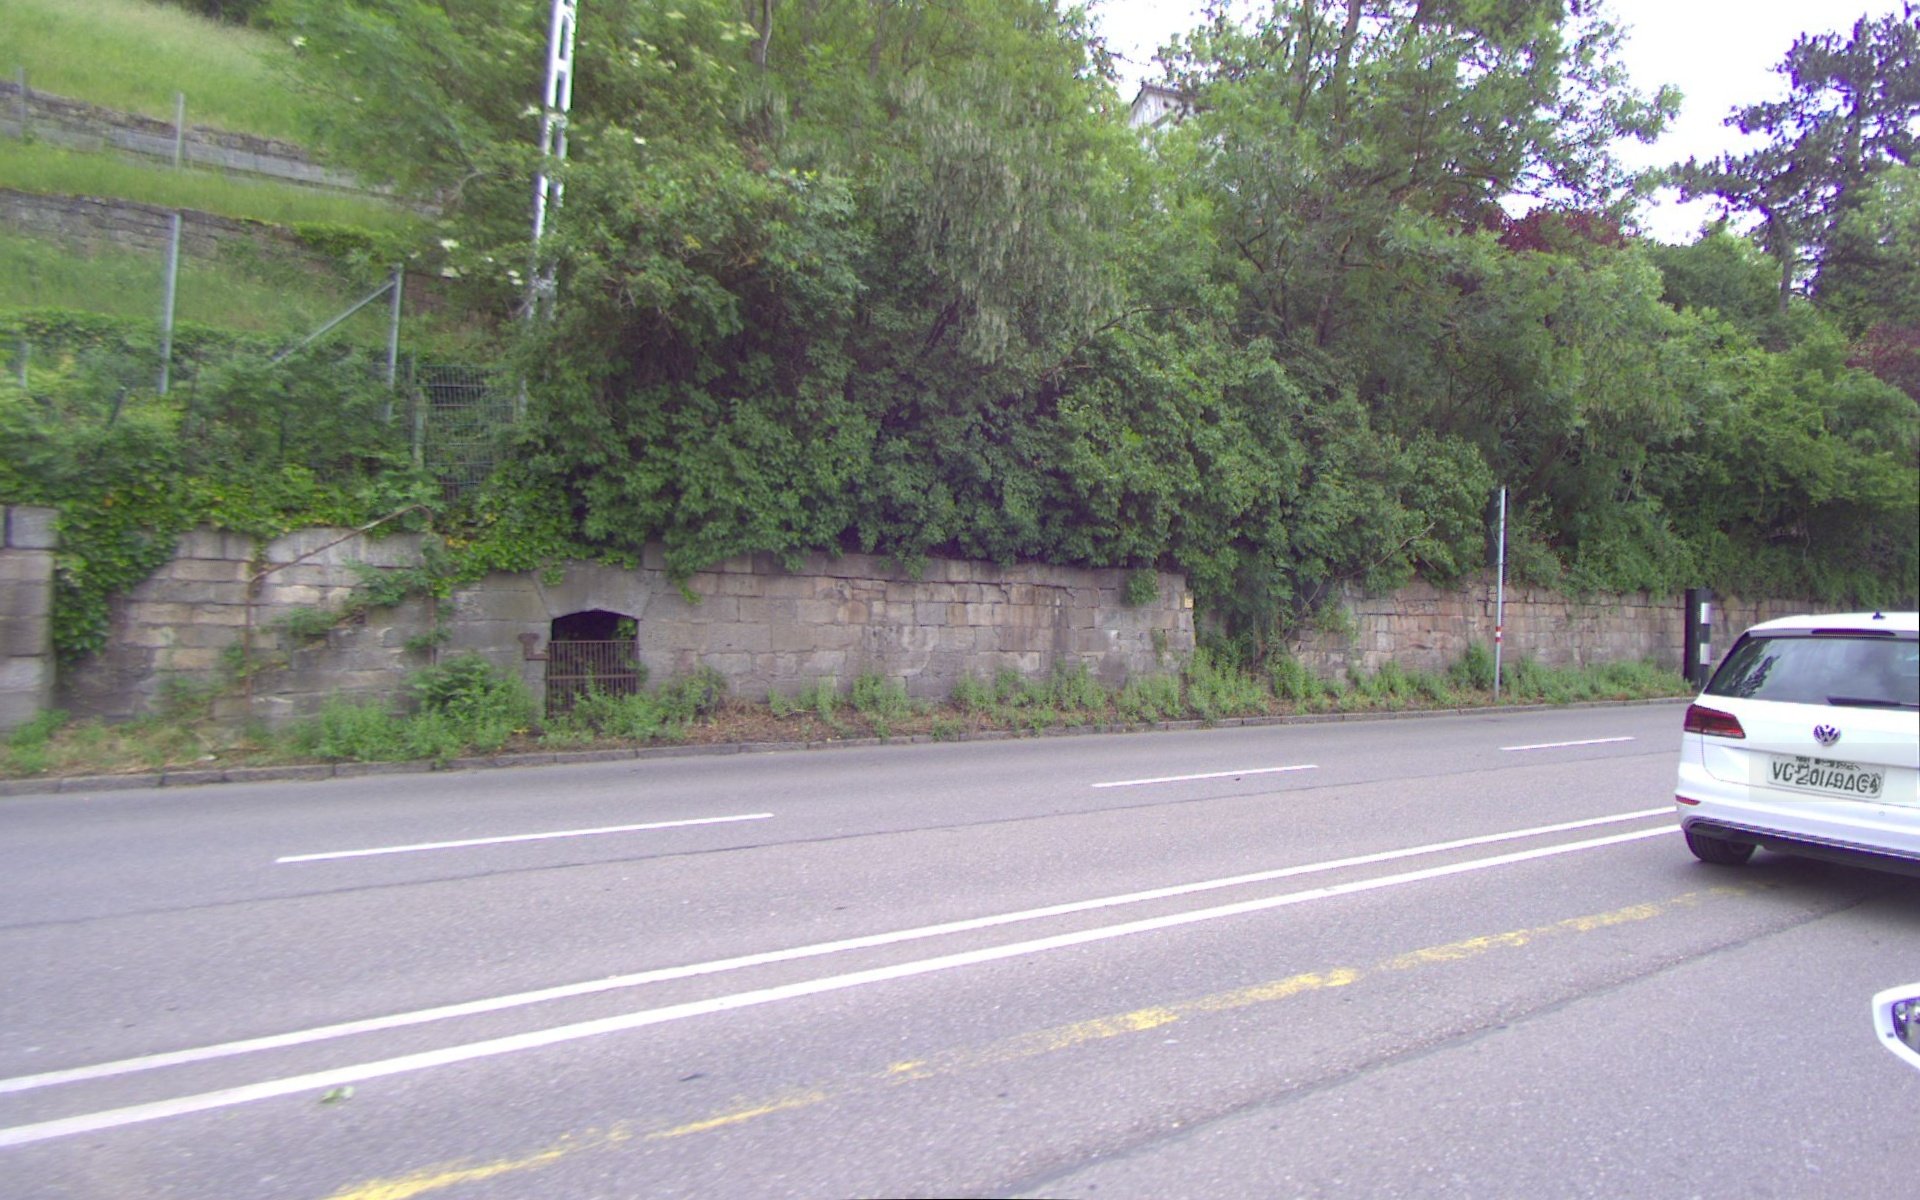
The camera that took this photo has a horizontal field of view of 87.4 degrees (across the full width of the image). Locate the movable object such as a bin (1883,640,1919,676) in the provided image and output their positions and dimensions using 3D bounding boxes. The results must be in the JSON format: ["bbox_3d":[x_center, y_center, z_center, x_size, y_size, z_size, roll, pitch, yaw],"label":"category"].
[{"bbox_3d":[28.818,1.768,30.626,0.615,1.048,0.893,1,-1,-33],"label":"movable object such as a bin"}]

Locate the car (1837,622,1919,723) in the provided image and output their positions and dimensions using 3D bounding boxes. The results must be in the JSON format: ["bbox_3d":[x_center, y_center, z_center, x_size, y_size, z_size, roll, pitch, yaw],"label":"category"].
[{"bbox_3d":[15.928,1.137,15.830,4.244,1.465,1.848,2,0,-29],"label":"car"}]

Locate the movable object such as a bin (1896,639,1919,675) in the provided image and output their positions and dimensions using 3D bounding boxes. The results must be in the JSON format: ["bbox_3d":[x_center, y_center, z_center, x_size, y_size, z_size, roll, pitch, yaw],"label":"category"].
[{"bbox_3d":[29.450,1.742,30.926,0.710,1.076,0.767,1,-1,-33],"label":"movable object such as a bin"}]

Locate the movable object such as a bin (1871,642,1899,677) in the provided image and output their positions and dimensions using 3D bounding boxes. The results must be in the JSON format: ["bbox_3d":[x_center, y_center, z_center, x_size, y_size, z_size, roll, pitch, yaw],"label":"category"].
[{"bbox_3d":[27.200,1.740,29.531,0.469,0.978,0.513,1,-1,-33],"label":"movable object such as a bin"}]

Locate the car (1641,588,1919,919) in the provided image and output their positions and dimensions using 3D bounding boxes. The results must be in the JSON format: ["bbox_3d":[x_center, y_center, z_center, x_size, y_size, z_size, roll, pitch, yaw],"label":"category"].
[{"bbox_3d":[6.211,0.774,6.184,4.226,1.575,1.711,1,0,-31],"label":"car"}]

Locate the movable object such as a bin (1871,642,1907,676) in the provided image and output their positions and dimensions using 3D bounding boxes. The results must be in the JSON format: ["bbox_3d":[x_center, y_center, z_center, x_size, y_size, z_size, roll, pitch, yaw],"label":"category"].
[{"bbox_3d":[27.722,1.741,29.975,0.538,0.978,0.670,1,-1,-33],"label":"movable object such as a bin"}]

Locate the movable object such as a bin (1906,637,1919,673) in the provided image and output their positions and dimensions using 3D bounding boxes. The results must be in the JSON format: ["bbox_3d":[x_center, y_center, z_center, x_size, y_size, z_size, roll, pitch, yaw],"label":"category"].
[{"bbox_3d":[30.090,1.728,31.277,0.701,1.085,0.783,0,0,-33],"label":"movable object such as a bin"}]
